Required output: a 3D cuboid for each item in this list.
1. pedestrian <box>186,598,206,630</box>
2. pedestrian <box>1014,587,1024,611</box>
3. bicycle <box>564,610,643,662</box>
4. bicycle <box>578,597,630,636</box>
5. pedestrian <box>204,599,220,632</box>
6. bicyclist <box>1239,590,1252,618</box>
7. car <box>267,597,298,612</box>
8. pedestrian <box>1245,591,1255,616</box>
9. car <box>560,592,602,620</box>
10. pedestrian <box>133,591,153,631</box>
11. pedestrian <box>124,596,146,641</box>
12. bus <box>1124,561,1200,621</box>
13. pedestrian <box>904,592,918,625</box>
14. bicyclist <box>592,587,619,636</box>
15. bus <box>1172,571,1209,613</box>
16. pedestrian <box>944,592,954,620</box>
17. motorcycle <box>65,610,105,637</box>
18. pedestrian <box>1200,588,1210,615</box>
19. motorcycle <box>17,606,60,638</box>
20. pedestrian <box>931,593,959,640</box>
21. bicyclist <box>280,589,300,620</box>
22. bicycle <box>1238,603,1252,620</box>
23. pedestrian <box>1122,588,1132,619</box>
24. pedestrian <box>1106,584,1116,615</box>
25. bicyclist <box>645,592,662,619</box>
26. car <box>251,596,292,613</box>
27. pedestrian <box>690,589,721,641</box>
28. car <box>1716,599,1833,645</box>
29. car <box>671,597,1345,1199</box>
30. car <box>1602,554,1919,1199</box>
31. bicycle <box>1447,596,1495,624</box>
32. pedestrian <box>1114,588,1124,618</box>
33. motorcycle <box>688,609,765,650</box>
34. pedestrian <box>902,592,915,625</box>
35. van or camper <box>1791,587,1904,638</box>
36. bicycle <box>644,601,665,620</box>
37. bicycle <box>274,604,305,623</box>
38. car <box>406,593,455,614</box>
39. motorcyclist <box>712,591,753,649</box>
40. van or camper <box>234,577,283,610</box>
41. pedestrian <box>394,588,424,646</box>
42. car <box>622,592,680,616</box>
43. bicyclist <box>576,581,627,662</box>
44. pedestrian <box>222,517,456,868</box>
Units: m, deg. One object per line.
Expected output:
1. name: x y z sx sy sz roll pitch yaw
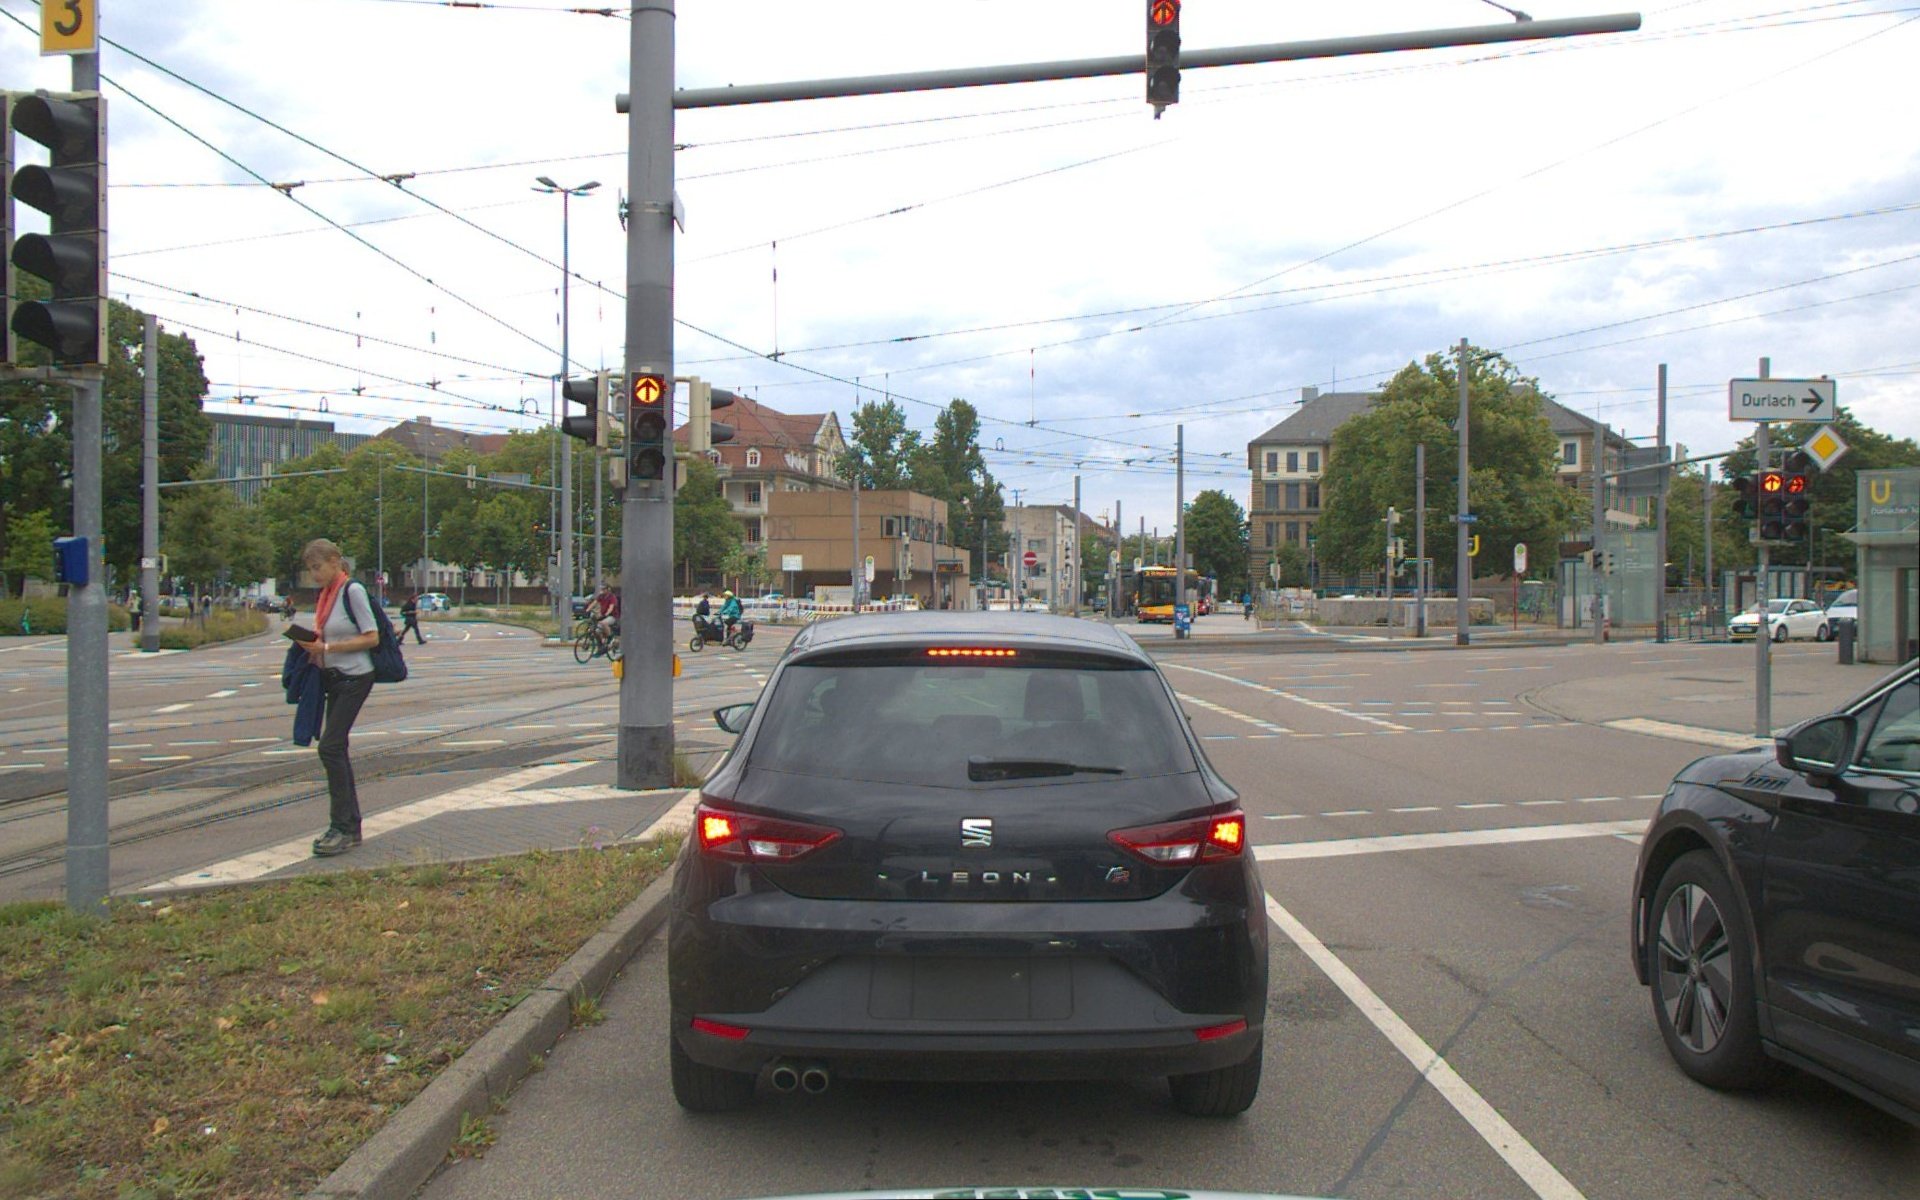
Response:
1. pedestrian: -48.322 0.862 104.647 0.859 2.016 0.796 -1 -1 6
2. pedestrian: 4.891 -0.107 137.632 0.609 1.952 0.710 -1 -1 25
3. bicycle: -8.607 0.851 40.000 0.760 1.205 2.030 0 0 27
4. bicycle: -12.495 0.571 58.052 1.705 1.345 0.641 0 0 -21
5. pedestrian: -46.860 0.973 103.613 0.865 2.016 0.791 0 -1 -19
6. bicyclist: 19.427 0.249 112.644 0.852 1.884 1.048 0 0 12
7. car: -68.924 0.463 168.239 1.766 1.489 3.941 0 1 -41
8. pedestrian: 23.657 0.303 134.996 0.648 2.049 0.691 0 0 -1
9. car: -23.950 0.391 104.389 1.966 1.713 3.973 0 -1 -22
10. pedestrian: -41.026 0.546 83.037 0.787 2.016 0.870 1 -2 -35
11. pedestrian: -37.218 0.817 74.630 0.787 2.016 0.870 1 -2 -35
12. bus: 11.555 -0.513 93.636 2.897 3.178 11.548 0 0 14
13. pedestrian: -2.875 0.515 97.319 0.693 1.951 0.624 0 0 7
14. bicyclist: -12.452 0.393 58.068 0.841 1.702 0.650 0 0 -20
15. bus: 19.154 -0.641 136.965 2.597 3.340 11.004 0 0 10
16. pedestrian: -0.769 0.413 113.627 0.608 1.951 0.711 0 0 2
17. motorcycle: -36.978 0.985 69.945 0.499 1.130 1.746 0 0 12
18. pedestrian: 18.359 0.100 123.848 0.648 2.049 0.691 0 0 -1
19. motorcycle: -37.897 0.882 68.003 0.503 1.290 1.463 0 0 43
20. pedestrian: -0.648 0.682 70.279 0.687 1.968 1.026 0 0 38
21. bicyclist: -45.465 0.295 112.256 0.918 2.049 0.979 0 0 2
22. bicycle: 19.377 0.743 112.367 0.847 1.124 2.304 0 0 11
23. pedestrian: 10.581 0.206 104.702 0.608 1.951 0.699 0 0 9
24. pedestrian: 9.515 -0.037 104.112 0.608 1.951 0.699 0 0 9
25. bicyclist: -19.500 0.349 105.227 0.870 1.762 0.888 0 0 -22
26. car: -59.340 0.389 142.507 3.930 1.489 1.770 0 0 43
27. pedestrian: -9.715 0.562 63.107 1.015 1.968 0.695 0 0 -26
28. car: 27.491 0.739 55.788 3.948 1.490 1.756 0 -1 -32
29. car: -0.018 0.735 5.981 1.671 1.474 3.808 0 0 -5
30. car: 3.268 0.703 3.773 1.741 1.625 4.508 0 0 -2
31. bicycle: 25.524 0.505 82.641 2.214 1.354 0.707 -1 -1 6
32. pedestrian: 10.181 0.195 105.783 0.608 1.951 0.711 0 0 2
33. motorcycle: -6.807 0.845 48.255 2.115 1.159 0.735 0 0 -34
34. pedestrian: -2.992 0.501 96.522 0.693 1.951 0.624 0 0 7
35. van or camper: 32.115 0.478 59.845 4.257 1.773 1.974 0 -1 -36
36. bicycle: -19.409 0.681 105.024 0.879 1.199 2.286 0 0 -22
37. bicycle: -45.471 0.916 112.241 0.920 1.199 2.730 0 0 1
38. car: -45.543 0.290 142.241 3.907 1.803 1.715 0 0 25
39. motorcyclist: -6.648 0.591 48.383 0.968 1.678 0.741 0 -1 -34
40. van or camper: -69.253 -0.614 163.189 5.403 3.179 2.382 0 0 41
41. pedestrian: -19.586 0.606 58.754 1.006 2.049 0.841 0 0 -20
42. car: -22.890 0.332 122.676 3.905 1.713 2.000 0 -1 0
43. bicyclist: -8.651 0.505 39.932 0.760 1.931 0.996 0 0 28
44. pedestrian: -3.670 0.514 9.796 1.096 1.940 0.724 1 -1 -44
